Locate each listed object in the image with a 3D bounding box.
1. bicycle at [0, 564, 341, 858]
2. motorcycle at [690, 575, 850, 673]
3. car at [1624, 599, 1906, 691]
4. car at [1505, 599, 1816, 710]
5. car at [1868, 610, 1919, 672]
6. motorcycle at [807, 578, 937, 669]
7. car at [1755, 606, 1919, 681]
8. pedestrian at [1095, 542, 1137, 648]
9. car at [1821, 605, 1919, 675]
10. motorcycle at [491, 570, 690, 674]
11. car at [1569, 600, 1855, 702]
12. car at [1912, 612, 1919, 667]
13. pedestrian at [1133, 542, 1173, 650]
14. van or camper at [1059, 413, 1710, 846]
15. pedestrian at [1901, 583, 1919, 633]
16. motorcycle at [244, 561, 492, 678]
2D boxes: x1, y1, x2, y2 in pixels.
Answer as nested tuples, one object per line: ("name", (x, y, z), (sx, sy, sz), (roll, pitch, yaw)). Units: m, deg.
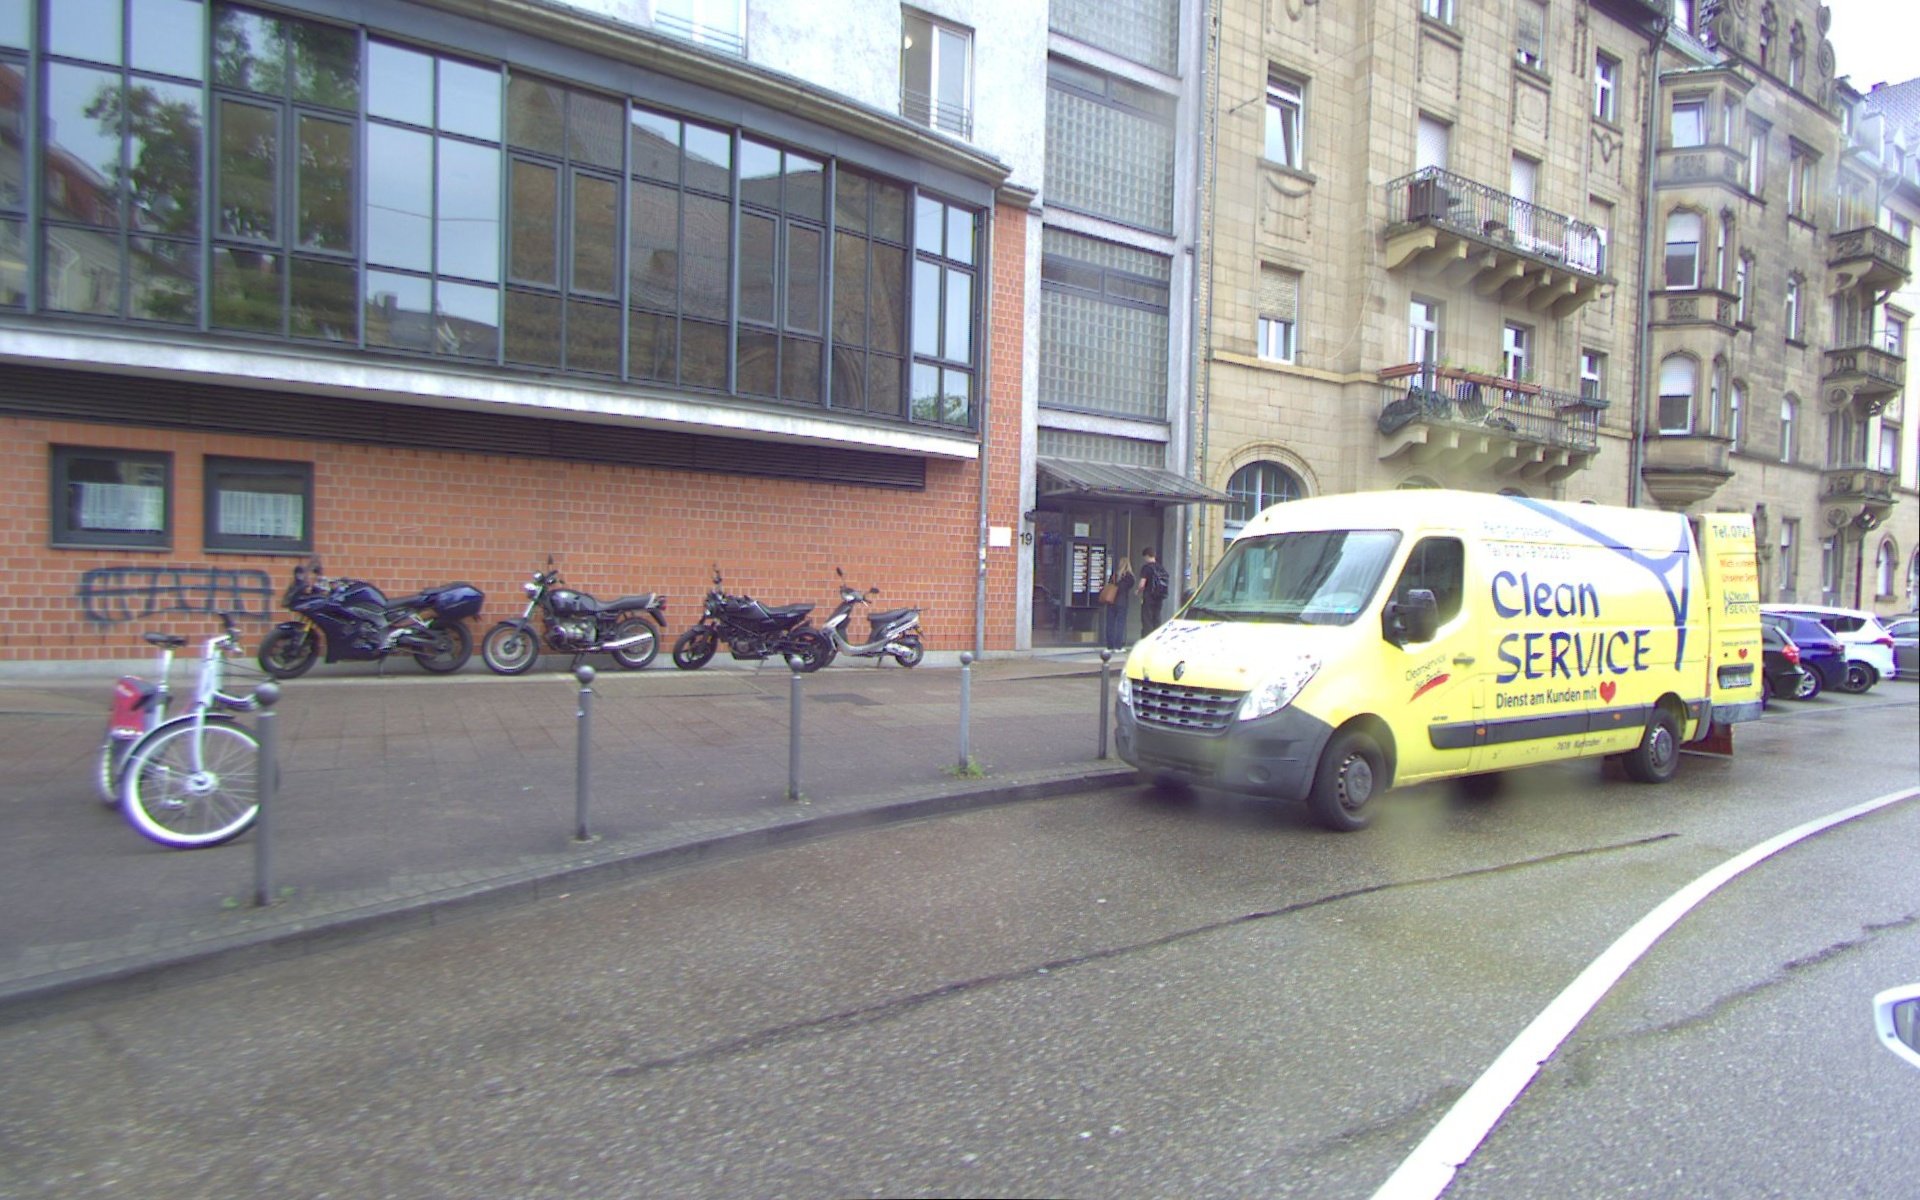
("bicycle", (-4.309, 0.500, 5.364), (1.884, 1.232, 0.769), (5, 2, 26))
("motorcycle", (-2.452, 0.312, 13.022), (1.968, 1.197, 0.524), (2, 2, -11))
("car", (15.767, 0.827, 19.948), (3.964, 1.576, 1.798), (2, 0, 21))
("car", (11.301, 0.807, 16.532), (3.973, 1.532, 1.794), (2, 0, 32))
("car", (26.156, 1.107, 26.136), (3.337, 1.579, 1.652), (2, 1, 22))
("motorcycle", (-1.235, 0.326, 13.965), (1.726, 1.197, 0.524), (2, 2, -11))
("car", (21.244, 1.004, 22.949), (4.458, 1.566, 1.689), (2, 1, 18))
("pedestrian", (2.637, -0.081, 16.990), (0.594, 1.771, 0.475), (1, 0, -4))
("car", (23.694, 1.006, 24.652), (3.485, 1.619, 1.605), (2, 1, 22))
("motorcycle", (-4.484, 0.259, 12.258), (2.180, 1.172, 0.646), (1, 2, -32))
("car", (13.457, 0.845, 18.312), (3.973, 1.595, 1.794), (2, 0, 32))
("car", (28.745, 1.179, 27.581), (3.337, 1.579, 1.705), (2, 1, 22))
("pedestrian", (3.207, -0.065, 16.739), (0.521, 1.771, 0.520), (1, 0, -2))
("van or camper", (3.862, 0.222, 8.647), (5.876, 2.646, 2.184), (1, 0, -32))
("pedestrian", (35.124, 0.295, 37.133), (0.343, 1.847, 0.364), (2, 0, -31))
("motorcycle", (-6.378, 0.200, 10.967), (2.245, 1.172, 0.833), (1, 2, -29))
